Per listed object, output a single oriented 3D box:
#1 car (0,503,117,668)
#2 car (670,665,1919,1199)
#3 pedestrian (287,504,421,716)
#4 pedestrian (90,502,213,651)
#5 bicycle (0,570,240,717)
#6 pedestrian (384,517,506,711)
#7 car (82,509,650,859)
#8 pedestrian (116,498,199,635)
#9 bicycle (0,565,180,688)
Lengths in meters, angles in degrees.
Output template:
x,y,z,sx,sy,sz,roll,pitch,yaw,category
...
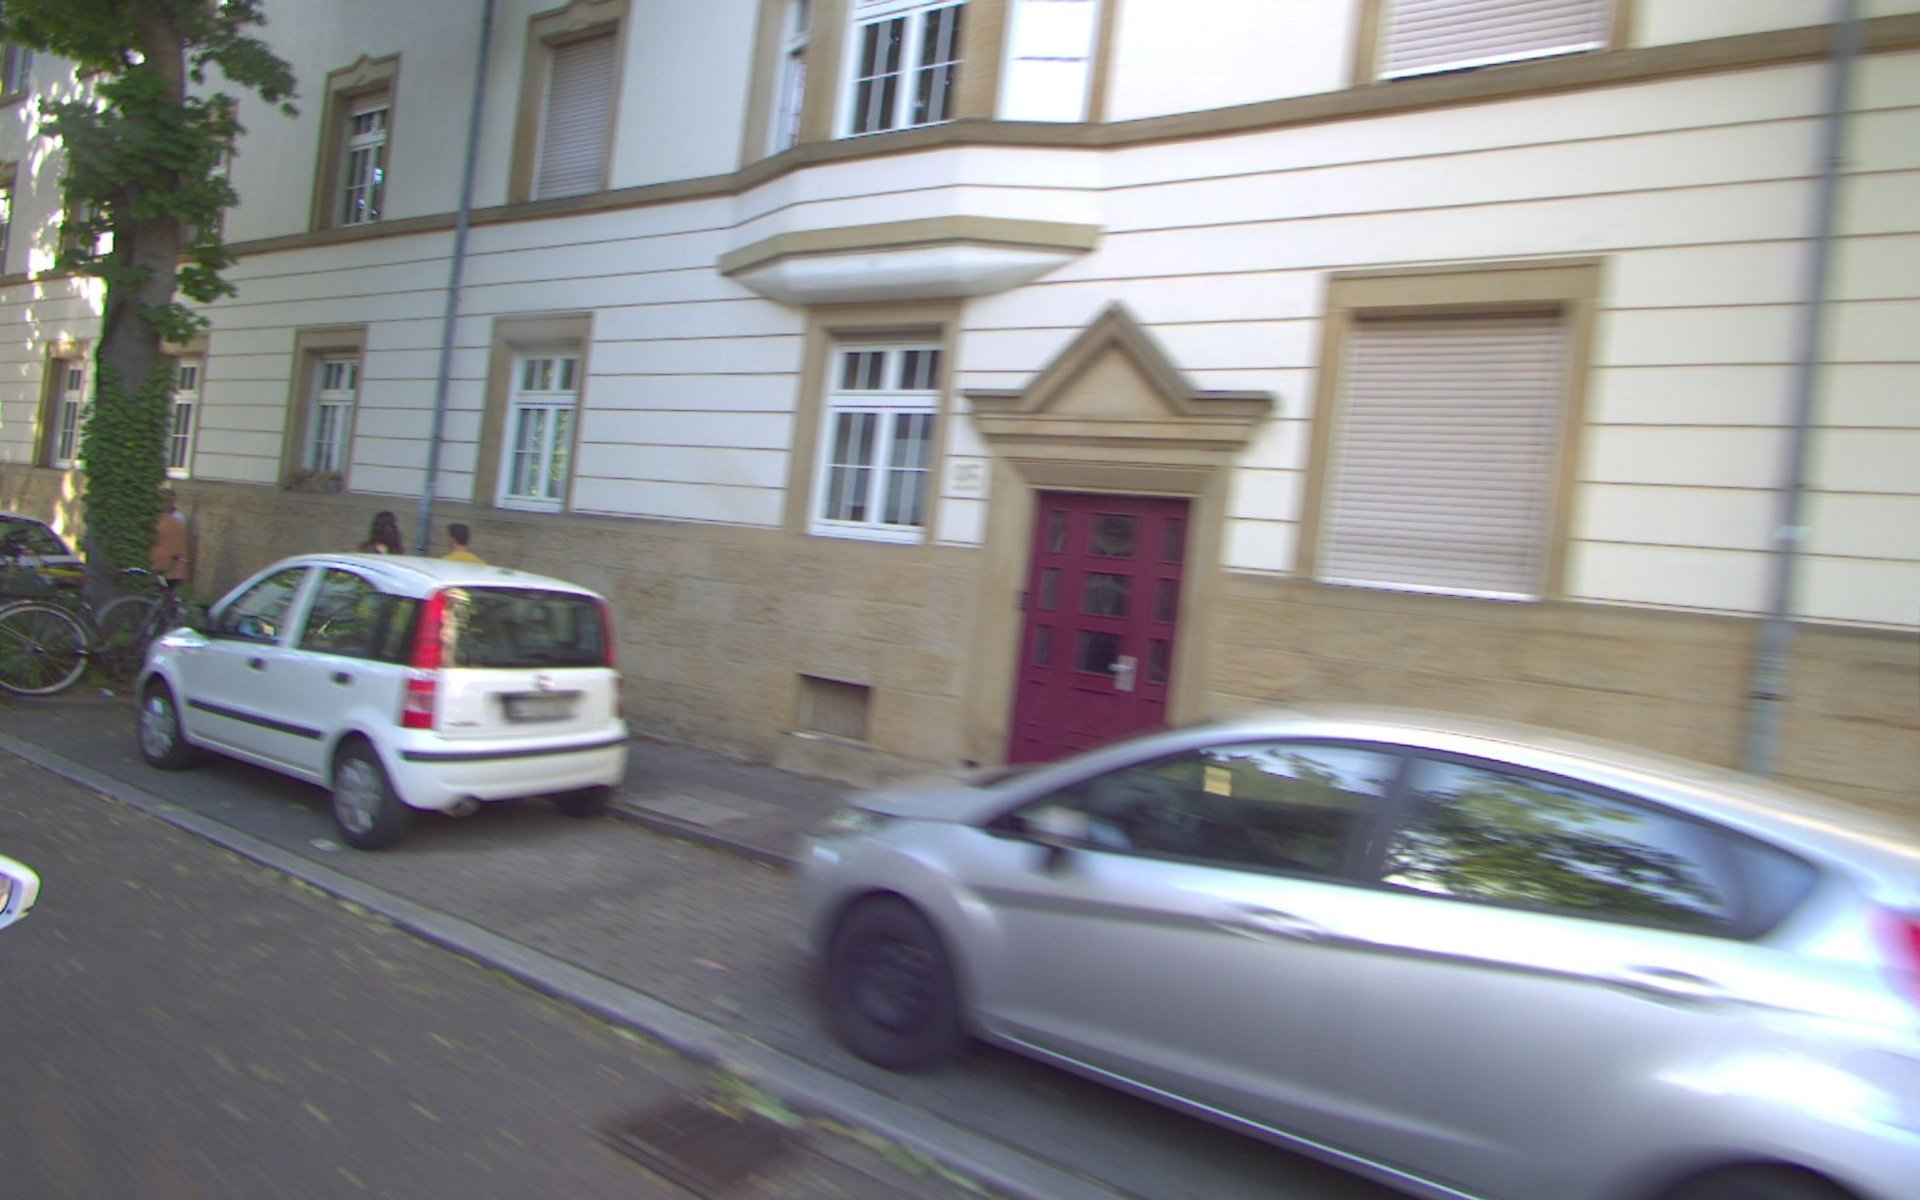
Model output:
x,y,z,sx,sy,sz,roll,pitch,yaw,category
-10.546,-0.334,10.138,3.801,1.496,1.615,7,-1,25,car
1.112,1.215,3.559,4.087,1.411,1.625,7,0,30,car
-5.384,0.081,8.936,0.863,1.756,0.520,7,0,31,pedestrian
-10.117,-0.288,12.600,0.859,1.714,0.779,7,-1,29,pedestrian
-6.975,0.369,8.070,0.596,1.051,1.774,7,-2,30,bicycle
-4.853,0.138,9.488,0.677,1.722,0.596,7,0,31,pedestrian
-3.881,0.393,6.467,3.483,1.529,1.523,7,0,30,car
-10.678,-0.437,13.382,0.744,1.727,0.490,7,1,28,pedestrian
-7.977,0.227,8.722,0.721,0.961,1.718,7,0,30,bicycle
